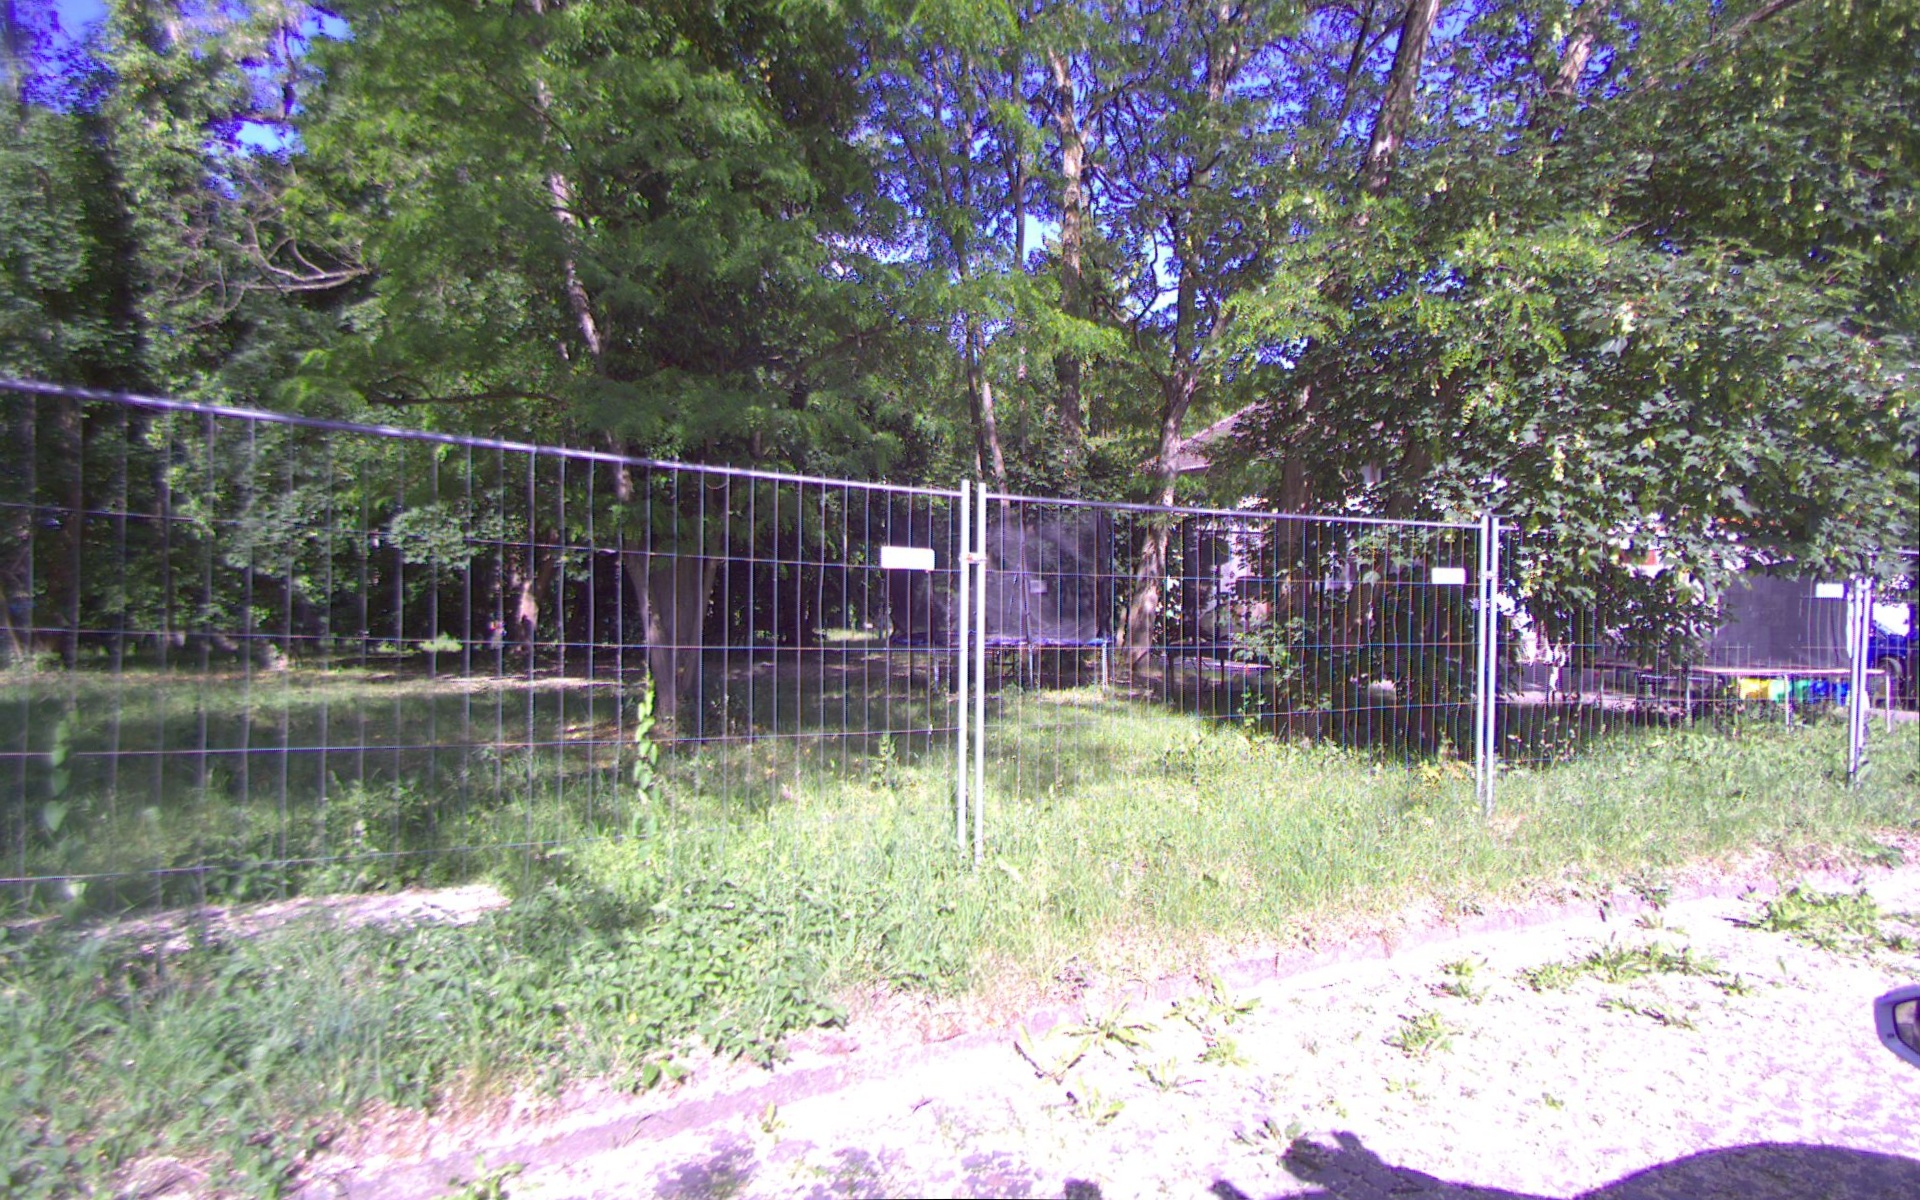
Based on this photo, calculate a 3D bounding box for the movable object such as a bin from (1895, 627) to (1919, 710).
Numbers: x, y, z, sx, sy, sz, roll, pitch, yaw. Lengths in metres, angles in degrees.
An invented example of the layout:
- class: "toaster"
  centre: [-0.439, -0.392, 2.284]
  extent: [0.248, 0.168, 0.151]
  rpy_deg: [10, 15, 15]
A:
- class: "movable object such as a bin"
  centre: [17.311, 1.209, 17.691]
  extent: [1.046, 1.457, 1.076]
  rpy_deg: [1, -1, -36]

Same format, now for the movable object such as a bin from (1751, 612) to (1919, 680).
- class: "movable object such as a bin"
  centre: [27.940, 1.380, 31.364]
  extent: [1.917, 1.996, 4.830]
  rpy_deg: [2, -1, -40]
